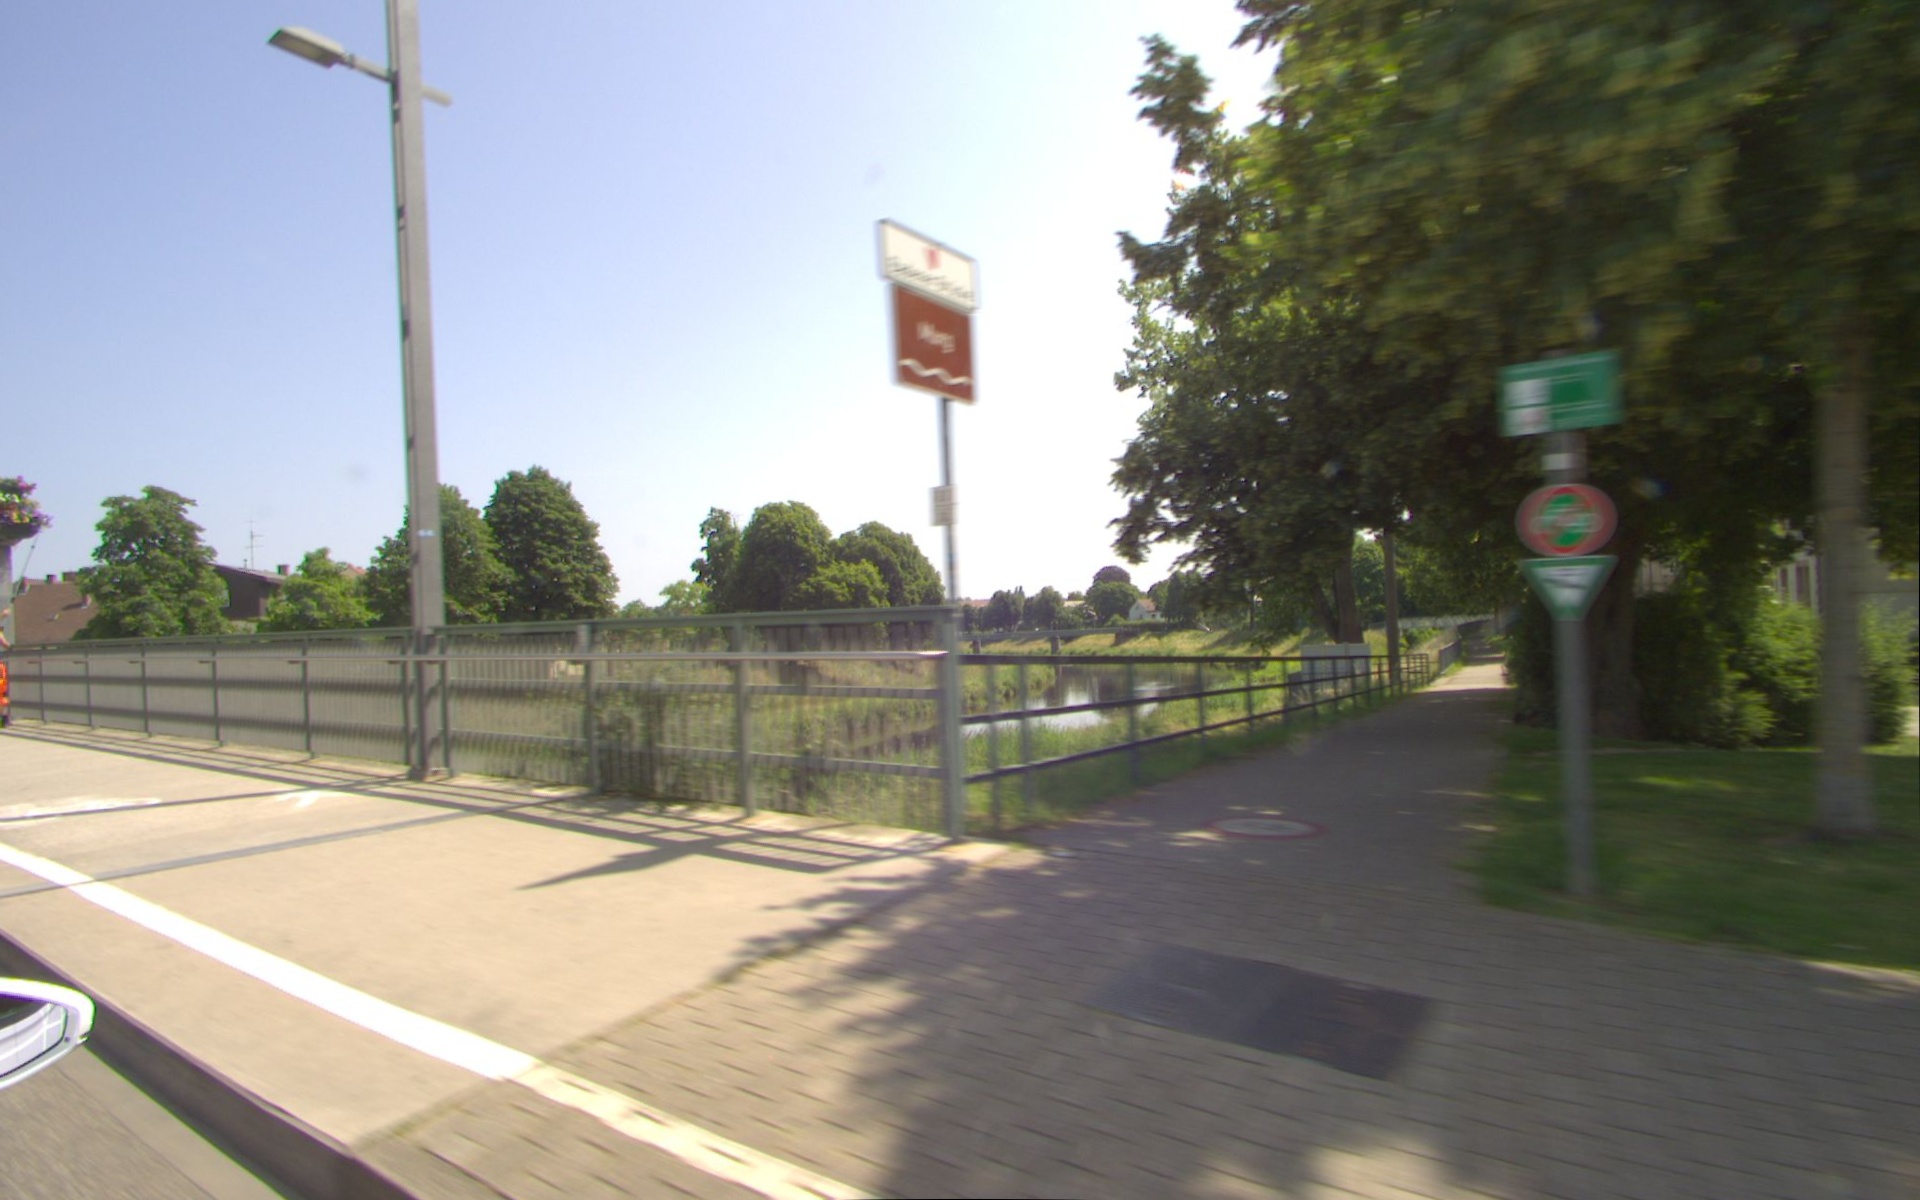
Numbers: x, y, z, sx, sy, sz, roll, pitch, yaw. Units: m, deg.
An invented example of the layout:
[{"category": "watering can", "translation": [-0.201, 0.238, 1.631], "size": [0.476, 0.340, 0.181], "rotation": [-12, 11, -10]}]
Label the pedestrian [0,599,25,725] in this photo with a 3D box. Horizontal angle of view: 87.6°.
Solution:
[{"category": "pedestrian", "translation": [-15.470, 0.999, 15.952], "size": [0.540, 1.984, 0.670], "rotation": [-3, -1, 29]}]
